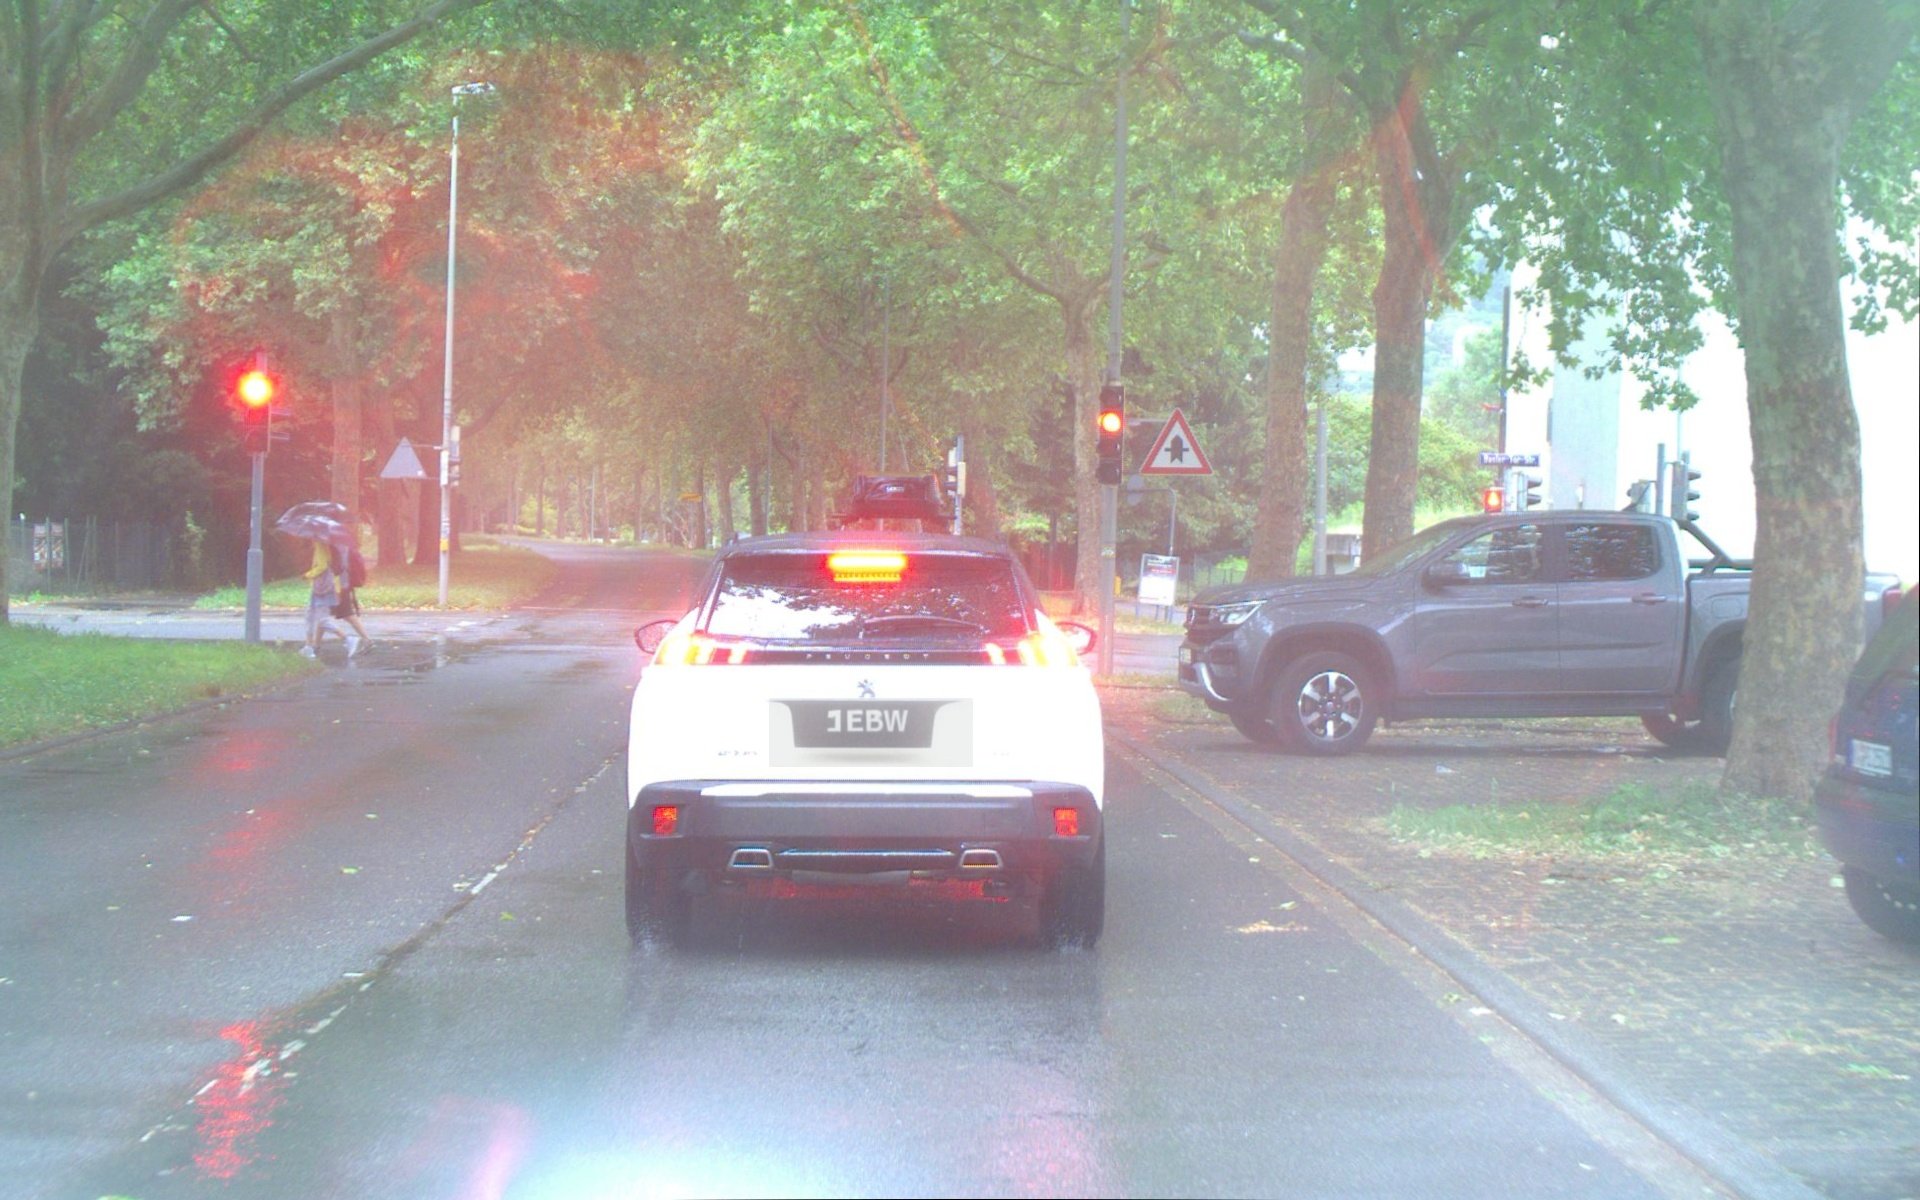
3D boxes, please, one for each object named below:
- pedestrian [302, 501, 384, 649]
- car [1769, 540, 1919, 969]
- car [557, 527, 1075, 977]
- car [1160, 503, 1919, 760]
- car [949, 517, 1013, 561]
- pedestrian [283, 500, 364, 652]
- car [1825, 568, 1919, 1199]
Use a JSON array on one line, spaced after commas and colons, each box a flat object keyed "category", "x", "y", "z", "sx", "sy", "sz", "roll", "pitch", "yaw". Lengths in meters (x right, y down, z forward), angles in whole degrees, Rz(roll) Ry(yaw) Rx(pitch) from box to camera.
[{"category": "pedestrian", "x": -7.425, "y": -0.301, "z": 41.383, "sx": 0.858, "sy": 1.738, "sz": 0.640, "roll": 2, "pitch": 1, "yaw": -3}, {"category": "car", "x": 4.863, "y": 0.551, "z": 12.596, "sx": 3.355, "sy": 1.459, "sz": 1.619, "roll": 1, "pitch": 1, "yaw": -1}, {"category": "car", "x": -0.525, "y": 0.489, "z": 14.008, "sx": 1.780, "sy": 1.531, "sz": 4.058, "roll": 1, "pitch": 1, "yaw": -1}, {"category": "car", "x": 4.315, "y": 0.223, "z": 25.898, "sx": 5.337, "sy": 1.800, "sz": 1.846, "roll": 1, "pitch": 1, "yaw": -7}, {"category": "car", "x": 0.725, "y": -2.159, "z": 121.537, "sx": 1.905, "sy": 1.504, "sz": 3.932, "roll": 1, "pitch": 1, "yaw": -4}, {"category": "pedestrian", "x": -7.479, "y": -0.286, "z": 40.410, "sx": 0.820, "sy": 1.738, "sz": 0.640, "roll": 2, "pitch": 1, "yaw": -3}, {"category": "car", "x": 4.513, "y": 0.710, "z": 7.350, "sx": 4.765, "sy": 1.468, "sz": 1.938, "roll": 1, "pitch": 1, "yaw": -6}]
